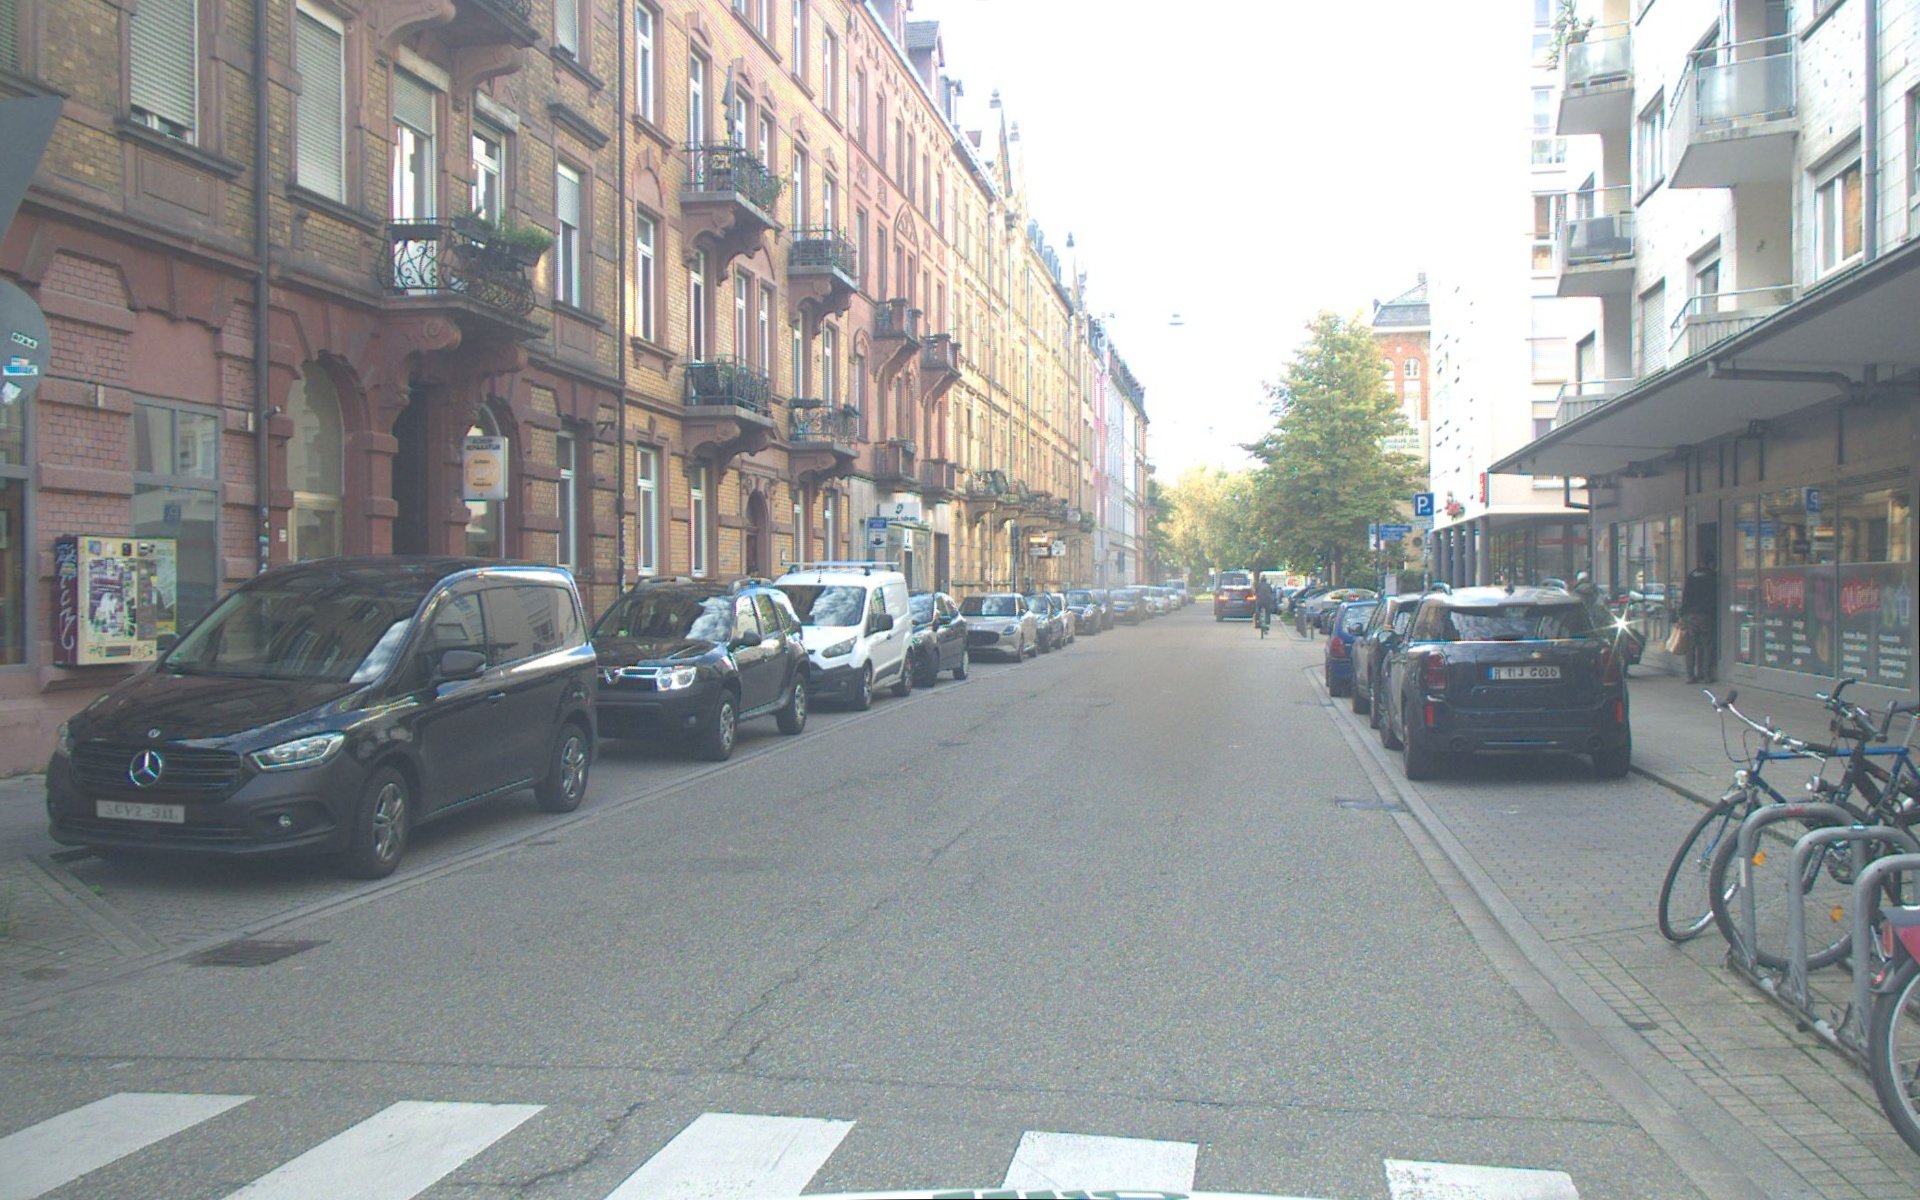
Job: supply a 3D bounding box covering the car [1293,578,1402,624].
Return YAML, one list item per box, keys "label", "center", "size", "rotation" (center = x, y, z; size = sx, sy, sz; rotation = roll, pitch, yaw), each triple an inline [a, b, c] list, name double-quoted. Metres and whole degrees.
- label: "car"
  center: [14.709, 0.060, 62.930]
  size: [3.683, 1.573, 1.731]
  rotation: [-2, -1, 0]

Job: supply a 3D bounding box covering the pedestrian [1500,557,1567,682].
- label: "pedestrian"
  center: [8.406, 0.275, 24.274]
  size: [0.599, 1.756, 1.127]
  rotation: [-3, 0, 5]

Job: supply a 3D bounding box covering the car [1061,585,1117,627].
- label: "car"
  center: [4.757, 0.198, 60.766]
  size: [1.654, 1.462, 3.870]
  rotation: [1, 1, 10]

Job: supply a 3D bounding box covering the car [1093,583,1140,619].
- label: "car"
  center: [6.740, 0.035, 70.865]
  size: [1.654, 1.393, 3.870]
  rotation: [3, 1, 10]

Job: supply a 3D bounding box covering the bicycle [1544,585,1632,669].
- label: "bicycle"
  center: [10.431, 0.423, 27.559]
  size: [0.899, 1.313, 2.501]
  rotation: [-2, 0, 10]

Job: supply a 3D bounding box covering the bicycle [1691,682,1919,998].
- label: "bicycle"
  center: [3.841, 0.882, 6.386]
  size: [1.751, 1.089, 0.569]
  rotation: [-3, 1, 0]

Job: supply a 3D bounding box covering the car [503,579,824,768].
- label: "car"
  center: [-2.821, 0.626, 16.760]
  size: [1.951, 1.666, 4.149]
  rotation: [0, 1, 9]

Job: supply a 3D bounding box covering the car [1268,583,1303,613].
- label: "car"
  center: [18.826, -0.138, 95.754]
  size: [1.889, 1.666, 4.004]
  rotation: [1, 1, 10]

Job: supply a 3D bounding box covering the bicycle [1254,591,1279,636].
- label: "bicycle"
  center: [9.240, 0.404, 49.813]
  size: [0.703, 1.296, 1.886]
  rotation: [1, 1, 11]

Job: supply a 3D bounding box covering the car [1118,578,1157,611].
- label: "car"
  center: [8.966, -0.311, 83.204]
  size: [1.654, 1.577, 3.871]
  rotation: [1, 1, 10]

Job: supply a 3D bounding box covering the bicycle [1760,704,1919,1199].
- label: "bicycle"
  center: [3.168, 0.847, 4.162]
  size: [1.842, 1.145, 0.908]
  rotation: [-3, 0, 8]

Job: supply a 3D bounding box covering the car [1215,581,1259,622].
- label: "car"
  center: [12.648, 0.075, 75.355]
  size: [1.923, 1.771, 4.044]
  rotation: [1, 0, 10]

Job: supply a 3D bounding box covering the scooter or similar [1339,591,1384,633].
- label: "scooter or similar"
  center: [11.723, 0.361, 48.326]
  size: [1.188, 1.167, 0.376]
  rotation: [-3, 1, 42]

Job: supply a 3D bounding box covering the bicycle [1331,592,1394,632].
- label: "bicycle"
  center: [11.935, 0.351, 49.042]
  size: [1.728, 1.075, 0.412]
  rotation: [-3, 0, 5]

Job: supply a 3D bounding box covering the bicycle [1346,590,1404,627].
- label: "bicycle"
  center: [13.740, 0.283, 54.799]
  size: [1.764, 1.179, 0.498]
  rotation: [-2, 1, 37]

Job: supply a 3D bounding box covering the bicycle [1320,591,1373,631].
- label: "bicycle"
  center: [11.788, 0.335, 50.460]
  size: [1.464, 1.166, 0.412]
  rotation: [-3, 0, 5]

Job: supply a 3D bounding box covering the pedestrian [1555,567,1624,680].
- label: "pedestrian"
  center: [9.211, 0.341, 24.224]
  size: [0.806, 1.616, 0.781]
  rotation: [-1, 0, 12]

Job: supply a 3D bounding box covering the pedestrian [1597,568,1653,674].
- label: "pedestrian"
  center: [10.406, 0.322, 25.891]
  size: [0.630, 1.616, 0.781]
  rotation: [-2, 0, 12]

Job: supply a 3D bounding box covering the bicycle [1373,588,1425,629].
- label: "bicycle"
  center: [13.326, 0.270, 50.237]
  size: [1.463, 1.166, 0.412]
  rotation: [-3, 0, 10]

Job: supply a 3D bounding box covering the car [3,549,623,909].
- label: "car"
  center: [-3.813, 0.630, 10.721]
  size: [1.722, 1.804, 4.410]
  rotation: [1, 1, 9]

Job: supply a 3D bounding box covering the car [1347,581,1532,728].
- label: "car"
  center: [5.738, 0.594, 20.207]
  size: [1.652, 1.604, 3.906]
  rotation: [-1, 0, 9]

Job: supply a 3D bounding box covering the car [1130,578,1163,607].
- label: "car"
  center: [10.750, -0.449, 95.212]
  size: [1.654, 1.577, 3.870]
  rotation: [1, 0, 9]

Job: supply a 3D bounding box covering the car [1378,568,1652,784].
- label: "car"
  center: [4.849, 0.581, 14.966]
  size: [1.754, 1.633, 3.928]
  rotation: [-3, 0, 11]

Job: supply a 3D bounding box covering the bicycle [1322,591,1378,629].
- label: "bicycle"
  center: [12.864, 0.329, 54.547]
  size: [1.756, 1.179, 0.500]
  rotation: [-3, 0, 13]

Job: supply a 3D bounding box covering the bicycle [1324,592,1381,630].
- label: "bicycle"
  center: [12.540, 0.355, 52.899]
  size: [1.728, 1.118, 0.412]
  rotation: [-3, 0, 13]

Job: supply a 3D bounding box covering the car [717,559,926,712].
- label: "car"
  center: [-1.795, 0.401, 22.957]
  size: [1.879, 1.904, 4.441]
  rotation: [0, 1, 9]

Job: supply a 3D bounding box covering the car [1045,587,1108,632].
- label: "car"
  center: [3.900, 0.295, 54.816]
  size: [1.654, 1.411, 3.870]
  rotation: [1, 1, 10]

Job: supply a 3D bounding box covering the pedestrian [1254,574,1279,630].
- label: "pedestrian"
  center: [9.270, 0.055, 49.957]
  size: [0.703, 1.679, 0.931]
  rotation: [1, 1, 11]

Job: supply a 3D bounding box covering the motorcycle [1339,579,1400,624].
- label: "motorcycle"
  center: [15.015, 0.063, 60.599]
  size: [2.104, 1.557, 0.687]
  rotation: [-3, 0, 15]

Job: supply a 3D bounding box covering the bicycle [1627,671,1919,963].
- label: "bicycle"
  center: [3.831, 0.881, 6.995]
  size: [1.751, 1.089, 0.587]
  rotation: [-3, 1, 0]

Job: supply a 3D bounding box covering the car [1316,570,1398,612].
- label: "car"
  center: [19.962, -0.448, 83.175]
  size: [3.902, 1.712, 1.740]
  rotation: [-3, 8, 14]

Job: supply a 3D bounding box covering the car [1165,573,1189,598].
- label: "car"
  center: [16.556, -1.090, 126.346]
  size: [1.654, 1.853, 3.870]
  rotation: [1, 0, 9]

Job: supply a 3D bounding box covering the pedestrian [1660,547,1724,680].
- label: "pedestrian"
  center: [10.581, 0.187, 23.916]
  size: [0.696, 1.893, 0.641]
  rotation: [0, 0, 39]

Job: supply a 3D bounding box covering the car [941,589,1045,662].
- label: "car"
  center: [0.800, 0.517, 37.050]
  size: [1.704, 1.509, 3.987]
  rotation: [1, 1, 10]

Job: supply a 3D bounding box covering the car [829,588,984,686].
- label: "car"
  center: [-0.824, 0.563, 28.030]
  size: [1.704, 1.509, 3.987]
  rotation: [1, 1, 12]

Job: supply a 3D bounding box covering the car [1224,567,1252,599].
- label: "car"
  center: [18.427, -1.112, 109.729]
  size: [1.744, 2.055, 3.891]
  rotation: [1, 1, 9]

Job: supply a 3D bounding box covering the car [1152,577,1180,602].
- label: "car"
  center: [13.718, -0.687, 110.214]
  size: [1.654, 1.577, 3.870]
  rotation: [1, 0, 9]

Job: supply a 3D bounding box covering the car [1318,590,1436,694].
- label: "car"
  center: [6.477, 0.603, 25.989]
  size: [1.561, 1.464, 4.034]
  rotation: [-1, 1, 11]

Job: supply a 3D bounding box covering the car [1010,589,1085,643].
- label: "car"
  center: [2.507, 0.425, 46.709]
  size: [1.654, 1.411, 3.870]
  rotation: [1, 1, 10]

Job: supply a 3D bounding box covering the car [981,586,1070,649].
- label: "car"
  center: [1.705, 0.404, 41.923]
  size: [1.704, 1.509, 3.987]
  rotation: [1, 1, 10]
